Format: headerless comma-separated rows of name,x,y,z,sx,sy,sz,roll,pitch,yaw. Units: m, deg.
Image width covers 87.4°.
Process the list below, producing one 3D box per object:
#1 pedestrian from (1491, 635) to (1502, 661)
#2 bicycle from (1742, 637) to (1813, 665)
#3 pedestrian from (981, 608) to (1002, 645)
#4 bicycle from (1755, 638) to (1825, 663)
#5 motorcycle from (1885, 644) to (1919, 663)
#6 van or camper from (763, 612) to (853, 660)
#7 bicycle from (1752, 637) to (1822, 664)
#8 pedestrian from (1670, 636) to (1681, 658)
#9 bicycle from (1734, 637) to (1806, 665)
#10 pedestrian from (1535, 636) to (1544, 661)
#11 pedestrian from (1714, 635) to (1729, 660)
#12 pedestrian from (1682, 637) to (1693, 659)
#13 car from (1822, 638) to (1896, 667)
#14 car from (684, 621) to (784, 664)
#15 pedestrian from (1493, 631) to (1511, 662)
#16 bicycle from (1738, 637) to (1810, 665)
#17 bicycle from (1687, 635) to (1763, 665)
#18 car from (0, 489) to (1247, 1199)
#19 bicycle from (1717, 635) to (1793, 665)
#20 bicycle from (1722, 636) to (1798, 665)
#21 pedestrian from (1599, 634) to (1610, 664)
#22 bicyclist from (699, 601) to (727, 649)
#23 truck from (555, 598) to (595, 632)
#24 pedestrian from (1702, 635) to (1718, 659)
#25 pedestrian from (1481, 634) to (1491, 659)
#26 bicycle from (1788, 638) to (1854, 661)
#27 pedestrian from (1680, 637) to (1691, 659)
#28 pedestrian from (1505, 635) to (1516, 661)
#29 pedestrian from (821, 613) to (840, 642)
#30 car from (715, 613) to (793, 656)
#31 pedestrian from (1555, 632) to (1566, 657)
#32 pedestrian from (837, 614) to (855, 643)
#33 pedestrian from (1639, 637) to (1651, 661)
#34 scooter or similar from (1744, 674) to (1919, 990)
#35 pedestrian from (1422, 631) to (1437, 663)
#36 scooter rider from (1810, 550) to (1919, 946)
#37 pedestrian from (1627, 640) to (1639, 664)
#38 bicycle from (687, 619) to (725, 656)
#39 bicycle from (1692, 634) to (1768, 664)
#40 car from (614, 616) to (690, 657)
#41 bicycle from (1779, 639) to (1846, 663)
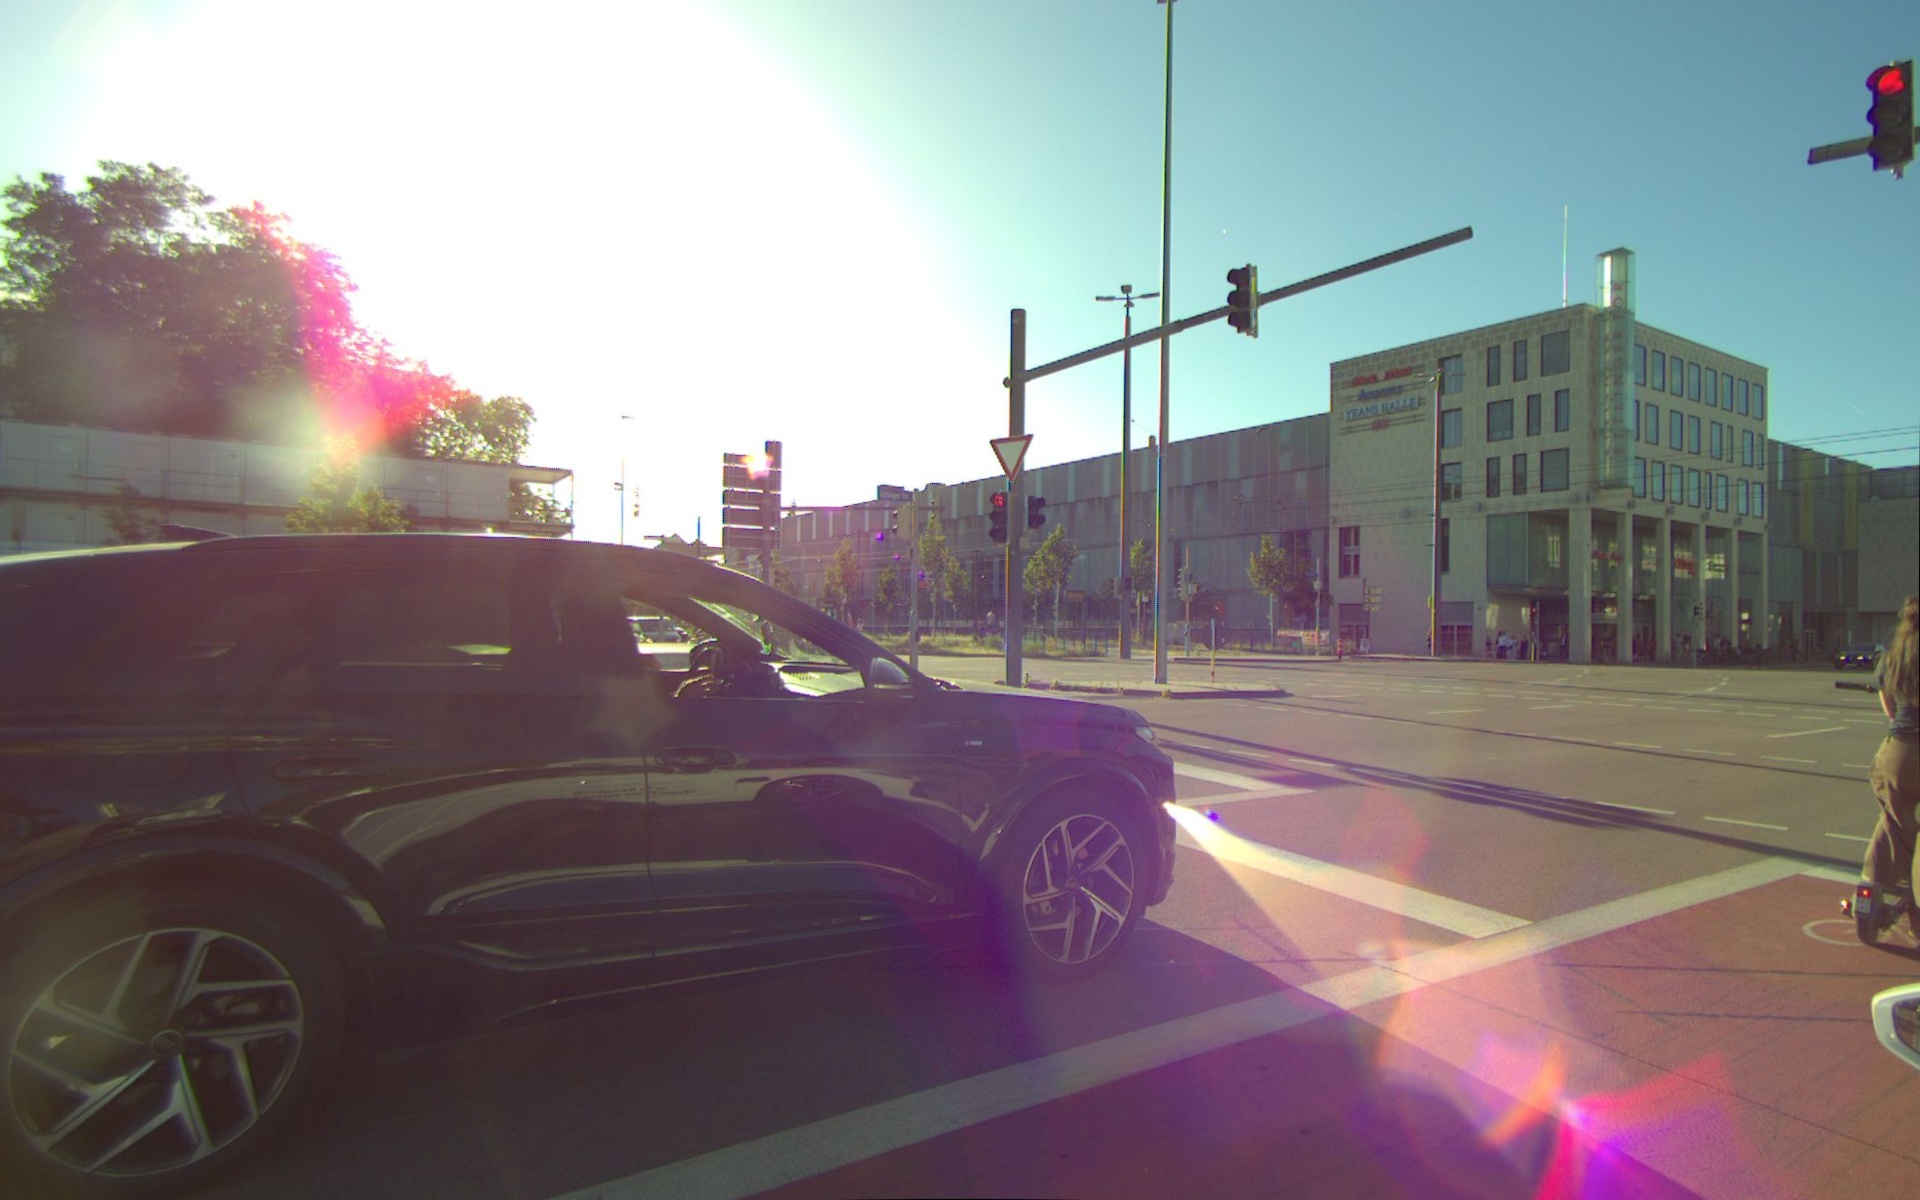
pedestrian,32.747,2.923,61.339,0.452,1.586,0.420,1,-1,-30
bicycle,52.855,3.258,64.963,0.979,1.719,3.462,1,-2,-40
pedestrian,1.580,1.327,50.593,0.788,1.855,0.706,1,-1,-37
bicycle,55.251,3.328,66.922,0.979,1.547,3.462,2,-2,-40
motorcycle,70.741,4.016,75.085,0.713,1.335,2.260,1,-2,-34
van or camper,-6.899,1.586,45.118,1.981,2.040,4.821,1,-2,-36
bicycle,54.500,3.319,66.253,0.979,1.719,3.462,1,-2,-40
pedestrian,50.026,3.258,70.241,0.508,1.530,0.479,1,-1,-34
bicycle,51.115,3.189,63.425,0.979,1.719,3.462,1,-2,-40
pedestrian,34.653,2.894,60.056,0.499,1.445,0.382,2,-1,-44
pedestrian,51.600,3.214,68.067,0.689,1.664,0.648,1,-1,-38
pedestrian,52.799,3.468,72.862,0.592,1.606,0.479,1,-1,-34
car,49.715,2.898,55.537,3.953,1.505,1.984,1,-1,-30
car,-9.402,1.706,41.512,2.313,1.671,4.821,1,-2,-37
pedestrian,32.360,2.745,59.972,0.729,1.822,0.752,1,-1,-34
bicycle,51.941,3.226,64.159,0.979,1.719,3.462,1,-2,-40
bicycle,45.695,2.976,60.033,1.107,1.719,3.465,1,-2,-38
car,-1.191,0.632,3.912,4.566,1.666,1.922,1,-1,-33
bicycle,48.210,3.012,60.939,1.107,1.719,3.465,1,-2,-38
bicycle,49.139,3.079,61.740,1.107,1.719,3.465,1,-2,-38
pedestrian,36.398,2.776,56.718,0.533,1.664,0.549,0,-1,35
bicyclist,-13.830,1.394,56.141,1.007,2.677,1.610,1,-1,-34
truck,-33.484,1.330,87.249,1.979,2.875,6.293,1,-2,-33
pedestrian,51.553,3.223,69.032,0.776,1.664,0.691,-1,-1,43
pedestrian,32.243,2.863,61.564,0.454,1.521,0.418,1,-1,-41
bicycle,60.377,3.433,70.472,0.979,1.547,3.462,2,-2,-40
pedestrian,52.663,3.462,72.955,0.592,1.606,0.479,1,-1,-34
pedestrian,33.526,2.926,61.169,0.453,1.547,0.418,1,-1,-37
pedestrian,-8.421,1.792,65.259,0.891,1.855,0.786,4,-2,-39
car,-10.395,1.697,50.417,1.981,2.040,4.821,1,-2,-36
pedestrian,39.509,2.922,66.062,0.493,1.606,0.426,1,-1,-34
pedestrian,-7.242,1.804,63.727,0.889,1.855,0.787,1,-1,-35
pedestrian,44.990,3.203,65.997,0.508,1.530,0.479,1,-1,-34
scooter or similar,4.492,0.992,4.718,1.645,1.218,0.725,1,-1,-30
pedestrian,25.025,2.509,53.500,0.543,1.716,0.522,1,-1,-36
scooter rider,4.688,0.680,4.802,0.801,1.798,0.725,1,-1,-30
pedestrian,44.191,3.418,65.939,0.508,1.606,0.479,1,-1,-34
bicycle,-14.498,2.103,57.342,1.007,2.040,3.472,1,-2,-33
bicycle,46.575,2.952,60.800,1.107,1.719,3.465,1,-2,-38
car,-14.810,1.706,48.111,1.981,1.849,4.821,1,-2,-36
bicycle,58.869,3.478,69.390,0.979,1.547,3.462,2,-2,-40
